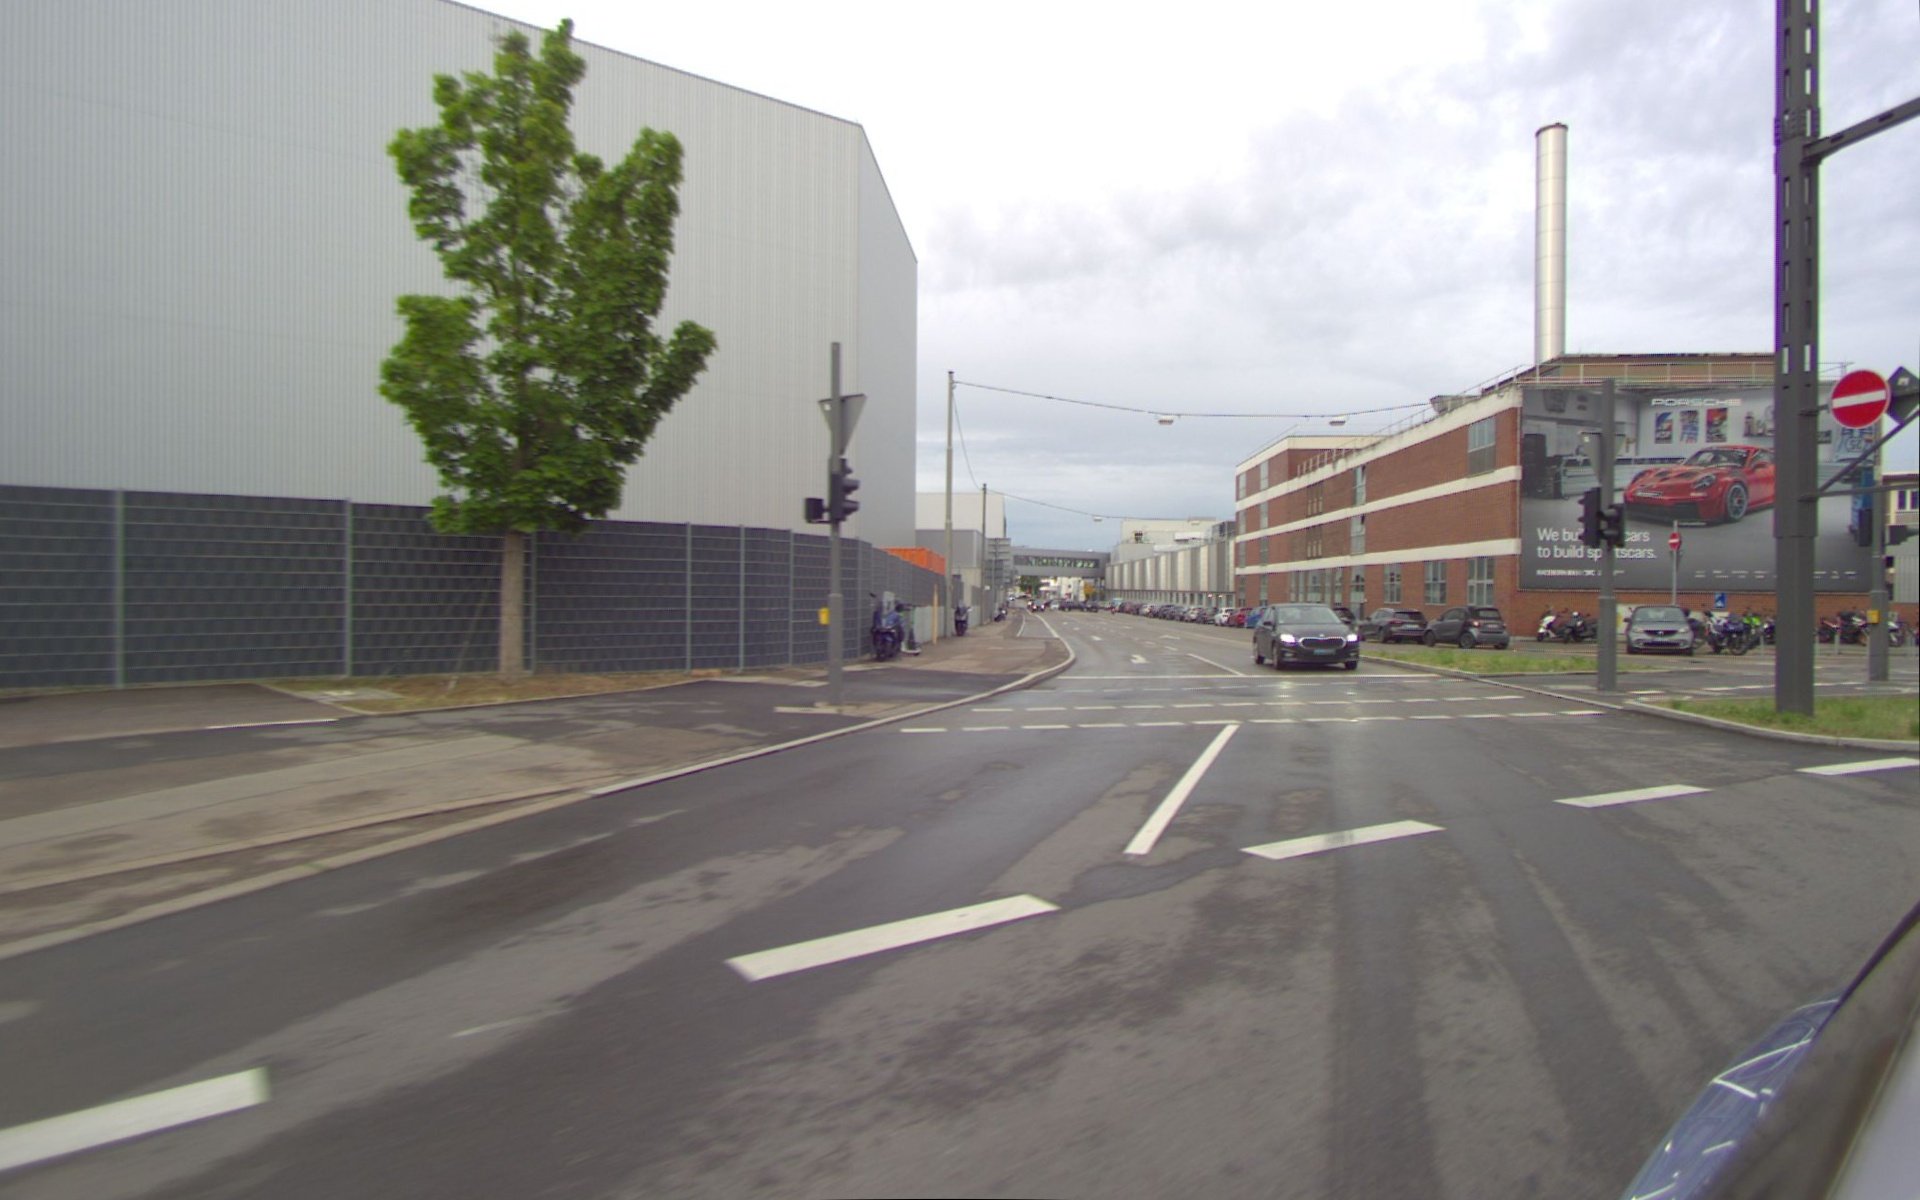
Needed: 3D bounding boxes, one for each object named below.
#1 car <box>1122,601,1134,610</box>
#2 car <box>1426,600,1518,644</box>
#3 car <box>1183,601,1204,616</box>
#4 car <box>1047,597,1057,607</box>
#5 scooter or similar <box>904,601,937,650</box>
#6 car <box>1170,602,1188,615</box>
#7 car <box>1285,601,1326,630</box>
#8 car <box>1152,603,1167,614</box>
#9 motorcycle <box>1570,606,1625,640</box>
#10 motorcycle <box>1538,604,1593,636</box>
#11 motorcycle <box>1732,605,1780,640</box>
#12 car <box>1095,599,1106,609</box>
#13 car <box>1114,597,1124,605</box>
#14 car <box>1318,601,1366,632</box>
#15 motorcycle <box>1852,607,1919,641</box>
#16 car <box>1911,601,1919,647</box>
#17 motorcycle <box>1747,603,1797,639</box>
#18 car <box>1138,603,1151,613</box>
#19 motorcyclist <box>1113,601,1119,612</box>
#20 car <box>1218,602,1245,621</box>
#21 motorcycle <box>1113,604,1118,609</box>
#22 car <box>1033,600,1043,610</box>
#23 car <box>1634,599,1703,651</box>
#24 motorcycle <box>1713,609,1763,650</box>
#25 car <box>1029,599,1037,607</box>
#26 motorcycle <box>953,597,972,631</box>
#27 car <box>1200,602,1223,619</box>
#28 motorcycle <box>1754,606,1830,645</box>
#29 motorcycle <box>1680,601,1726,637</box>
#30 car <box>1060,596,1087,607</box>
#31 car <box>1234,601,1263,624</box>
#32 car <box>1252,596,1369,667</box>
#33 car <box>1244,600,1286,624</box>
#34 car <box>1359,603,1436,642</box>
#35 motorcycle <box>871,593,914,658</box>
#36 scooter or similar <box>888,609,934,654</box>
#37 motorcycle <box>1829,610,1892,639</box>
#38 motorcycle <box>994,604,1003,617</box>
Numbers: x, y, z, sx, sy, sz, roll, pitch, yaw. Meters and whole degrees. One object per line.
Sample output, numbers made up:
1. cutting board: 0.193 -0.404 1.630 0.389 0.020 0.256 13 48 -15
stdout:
1. car: 25.240 0.805 152.063 1.434 1.256 3.365 -3 0 7
2. car: 18.706 0.793 37.065 1.521 1.512 2.757 1 -1 -16
3. car: 21.660 0.804 94.037 1.434 1.256 3.365 -3 0 7
4. car: 15.453 0.289 170.295 1.585 1.579 3.996 -1 0 3
5. scooter or similar: -1.005 0.647 25.752 0.419 1.215 1.262 0 -1 19
6. car: 22.748 0.904 105.222 1.434 1.256 3.365 -3 0 7
7. car: 19.388 0.850 56.938 1.434 1.462 3.383 -3 0 7
8. car: 23.690 1.001 120.251 1.434 1.256 3.365 -3 0 7
9. motorcycle: 23.253 0.835 36.931 1.577 1.134 0.543 -3 0 13
10. motorcycle: 22.808 0.767 38.131 1.623 1.125 0.543 -3 0 13
11. motorcycle: 27.969 0.785 35.595 0.469 1.134 1.805 -3 0 10
12. car: 21.028 0.577 151.270 1.434 1.256 3.365 -3 0 7
13. car: 26.698 0.165 169.920 1.434 1.256 3.365 -3 0 7
14. car: 19.426 0.816 51.586 1.434 1.462 3.459 -3 0 7
15. motorcycle: 33.265 0.837 36.359 0.573 1.166 1.724 -2 0 -16
16. car: 32.939 0.768 31.922 1.535 1.508 4.007 -1 0 -23
17. motorcycle: 29.018 0.732 36.190 0.535 1.254 1.803 0 1 7
18. car: 24.939 1.105 136.535 1.434 1.256 3.365 -3 0 7
19. motorcyclist: 22.025 0.913 142.883 0.722 1.391 1.017 -3 0 7
20. car: 20.911 0.870 78.033 1.434 1.393 3.383 -3 0 7
21. motorcycle: 21.931 0.893 142.793 0.556 0.678 2.222 -3 0 7
22. car: 12.482 0.768 161.825 1.585 1.579 3.996 -1 0 3
23. car: 22.130 0.732 31.695 1.613 1.522 3.209 0 0 33
24. motorcycle: 23.629 0.882 30.774 0.487 1.160 1.717 -3 0 13
25. car: 14.717 0.593 204.339 1.585 1.579 3.996 -1 0 3
26. motorcycle: 0.113 0.591 42.820 0.644 1.395 2.098 0 -1 4
27. car: 21.667 0.890 87.391 1.434 1.256 3.365 -3 0 7
28. motorcycle: 26.257 0.791 31.943 1.832 1.125 0.544 -3 0 5
29. motorcycle: 26.599 0.663 36.256 0.535 1.195 1.710 -3 0 7
30. car: 17.240 0.245 153.450 3.925 1.579 1.614 -1 0 1
31. car: 20.624 0.892 72.403 1.434 1.462 3.383 -3 0 7
32. car: 7.791 0.654 22.825 1.692 1.444 3.991 -1 0 8
33. car: 20.221 0.774 67.135 1.665 1.462 3.389 -3 0 0
34. car: 18.373 0.899 42.656 1.539 1.461 4.103 -3 0 2
35. motorcycle: -1.437 0.537 21.857 0.644 1.327 2.098 0 -1 4
36. scooter or similar: -1.164 0.736 24.196 0.383 1.042 1.253 -1 -1 37
37. motorcycle: 32.107 0.871 36.108 0.530 0.985 1.620 -3 0 -16
38. motorcycle: 3.312 0.928 87.158 0.556 1.088 1.923 0 0 8
